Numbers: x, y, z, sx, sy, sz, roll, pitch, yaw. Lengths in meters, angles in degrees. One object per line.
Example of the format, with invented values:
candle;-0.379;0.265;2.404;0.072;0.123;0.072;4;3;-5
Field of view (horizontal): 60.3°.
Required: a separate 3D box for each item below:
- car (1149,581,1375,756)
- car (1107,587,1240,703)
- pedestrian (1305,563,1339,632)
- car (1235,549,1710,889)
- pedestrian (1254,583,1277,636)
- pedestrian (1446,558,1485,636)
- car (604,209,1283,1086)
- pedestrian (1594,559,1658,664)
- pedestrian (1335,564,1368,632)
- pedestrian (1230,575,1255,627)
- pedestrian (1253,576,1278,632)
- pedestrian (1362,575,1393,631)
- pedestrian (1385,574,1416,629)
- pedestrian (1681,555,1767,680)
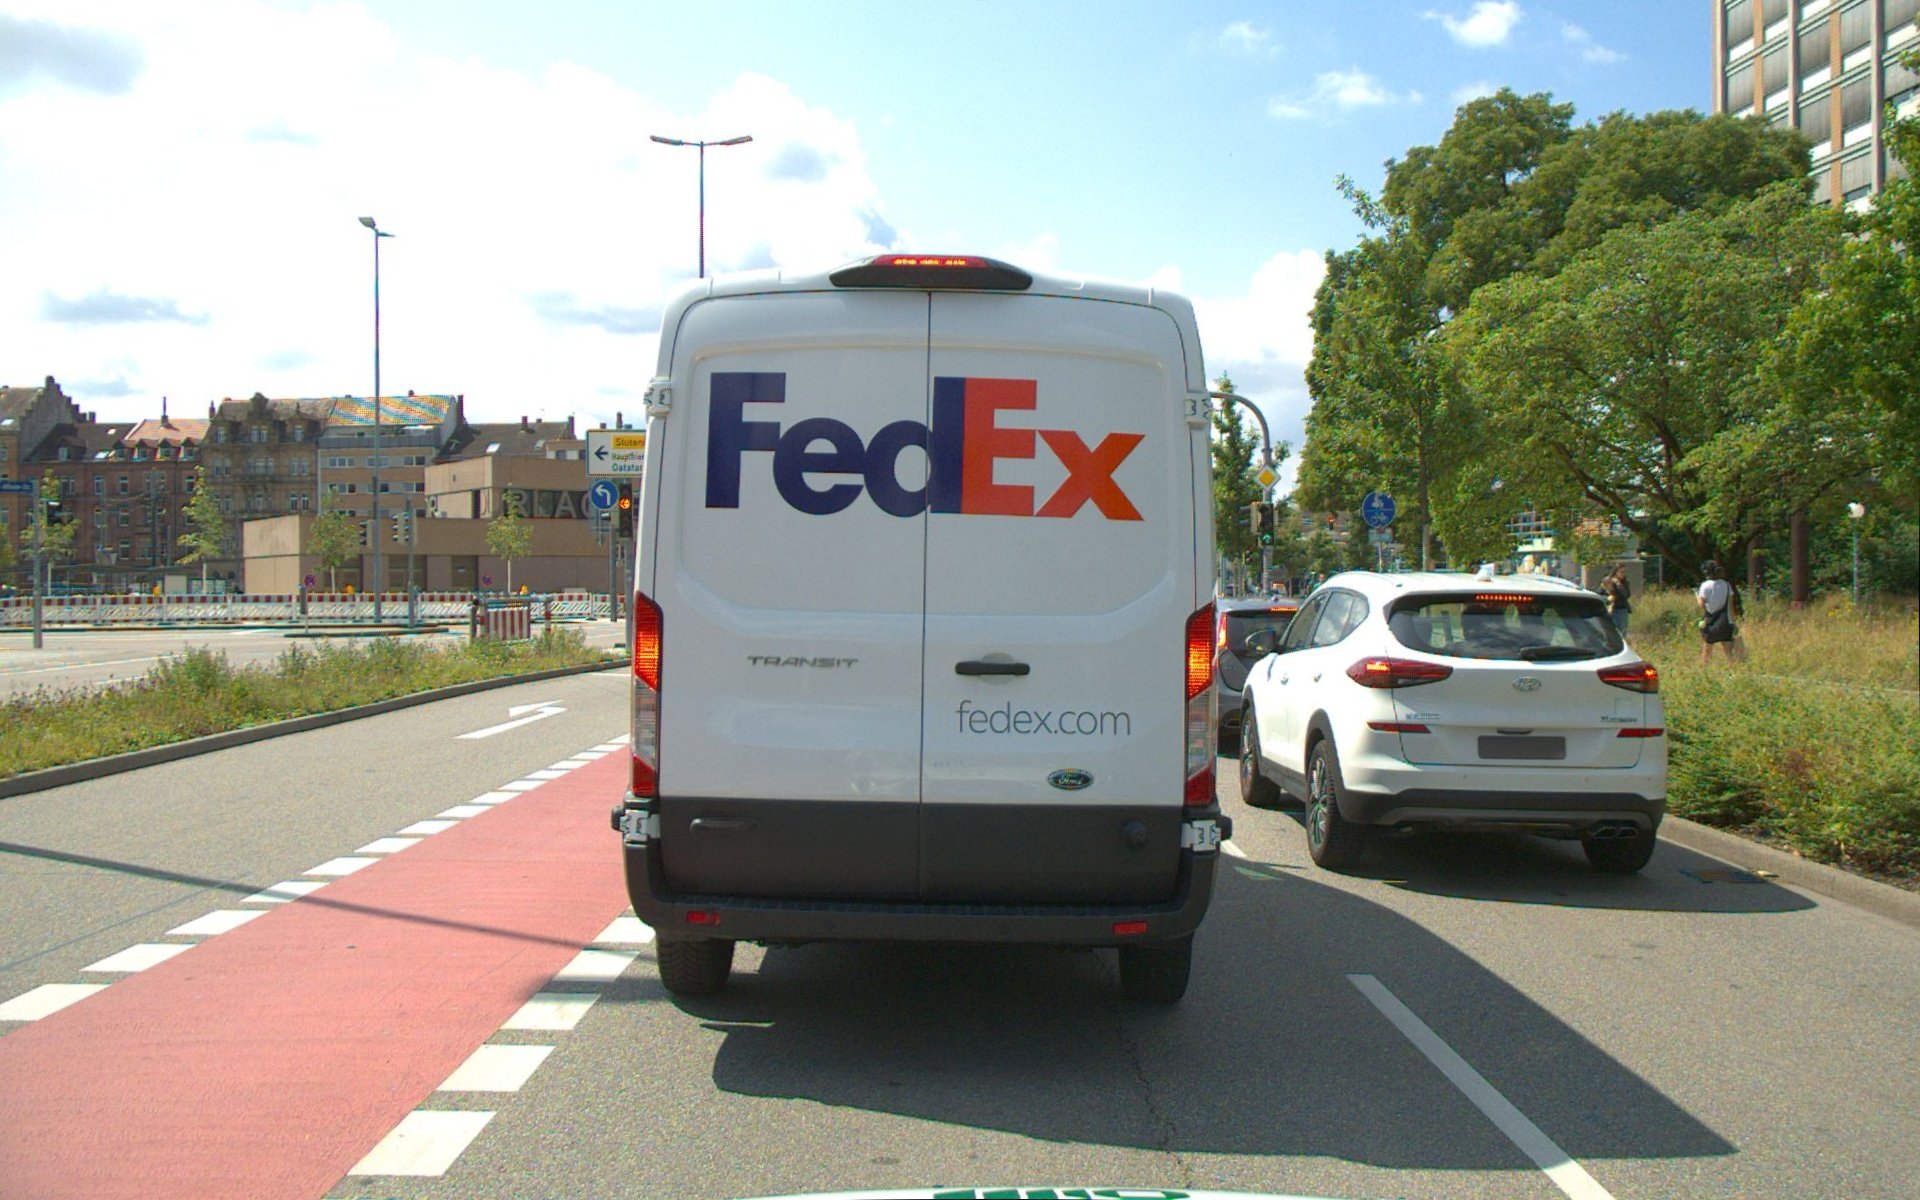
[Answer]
car;2.949;0.602;16.847;1.656;1.576;3.721;0;1;1
car;2.938;0.576;23.296;1.468;1.489;3.474;0;1;1
pedestrian;9.967;-0.075;45.550;0.743;1.882;0.816;0;0;1
car;2.915;0.579;10.333;1.777;1.708;3.974;0;1;1
pedestrian;10.931;0.349;59.198;0.742;1.882;0.817;0;0;14
pedestrian;11.920;-0.074;39.024;0.742;1.820;0.817;0;0;7
car;-0.020;0.121;7.189;2.030;2.626;4.428;0;1;1
pedestrian;10.905;0.185;27.098;0.743;1.684;0.816;0;0;3
pedestrian;10.893;-0.057;46.062;0.743;1.882;0.816;0;0;3
pedestrian;10.260;0.029;60.075;0.796;1.882;0.761;0;0;2
pedestrian;10.492;0.132;56.834;0.743;1.882;0.816;0;0;18
pedestrian;14.202;0.102;56.236;0.745;1.882;0.814;-1;0;-11
pedestrian;15.017;0.049;56.430;0.745;1.882;0.814;0;0;-9
pedestrian;9.897;0.221;21.445;0.743;1.584;0.816;0;0;1
